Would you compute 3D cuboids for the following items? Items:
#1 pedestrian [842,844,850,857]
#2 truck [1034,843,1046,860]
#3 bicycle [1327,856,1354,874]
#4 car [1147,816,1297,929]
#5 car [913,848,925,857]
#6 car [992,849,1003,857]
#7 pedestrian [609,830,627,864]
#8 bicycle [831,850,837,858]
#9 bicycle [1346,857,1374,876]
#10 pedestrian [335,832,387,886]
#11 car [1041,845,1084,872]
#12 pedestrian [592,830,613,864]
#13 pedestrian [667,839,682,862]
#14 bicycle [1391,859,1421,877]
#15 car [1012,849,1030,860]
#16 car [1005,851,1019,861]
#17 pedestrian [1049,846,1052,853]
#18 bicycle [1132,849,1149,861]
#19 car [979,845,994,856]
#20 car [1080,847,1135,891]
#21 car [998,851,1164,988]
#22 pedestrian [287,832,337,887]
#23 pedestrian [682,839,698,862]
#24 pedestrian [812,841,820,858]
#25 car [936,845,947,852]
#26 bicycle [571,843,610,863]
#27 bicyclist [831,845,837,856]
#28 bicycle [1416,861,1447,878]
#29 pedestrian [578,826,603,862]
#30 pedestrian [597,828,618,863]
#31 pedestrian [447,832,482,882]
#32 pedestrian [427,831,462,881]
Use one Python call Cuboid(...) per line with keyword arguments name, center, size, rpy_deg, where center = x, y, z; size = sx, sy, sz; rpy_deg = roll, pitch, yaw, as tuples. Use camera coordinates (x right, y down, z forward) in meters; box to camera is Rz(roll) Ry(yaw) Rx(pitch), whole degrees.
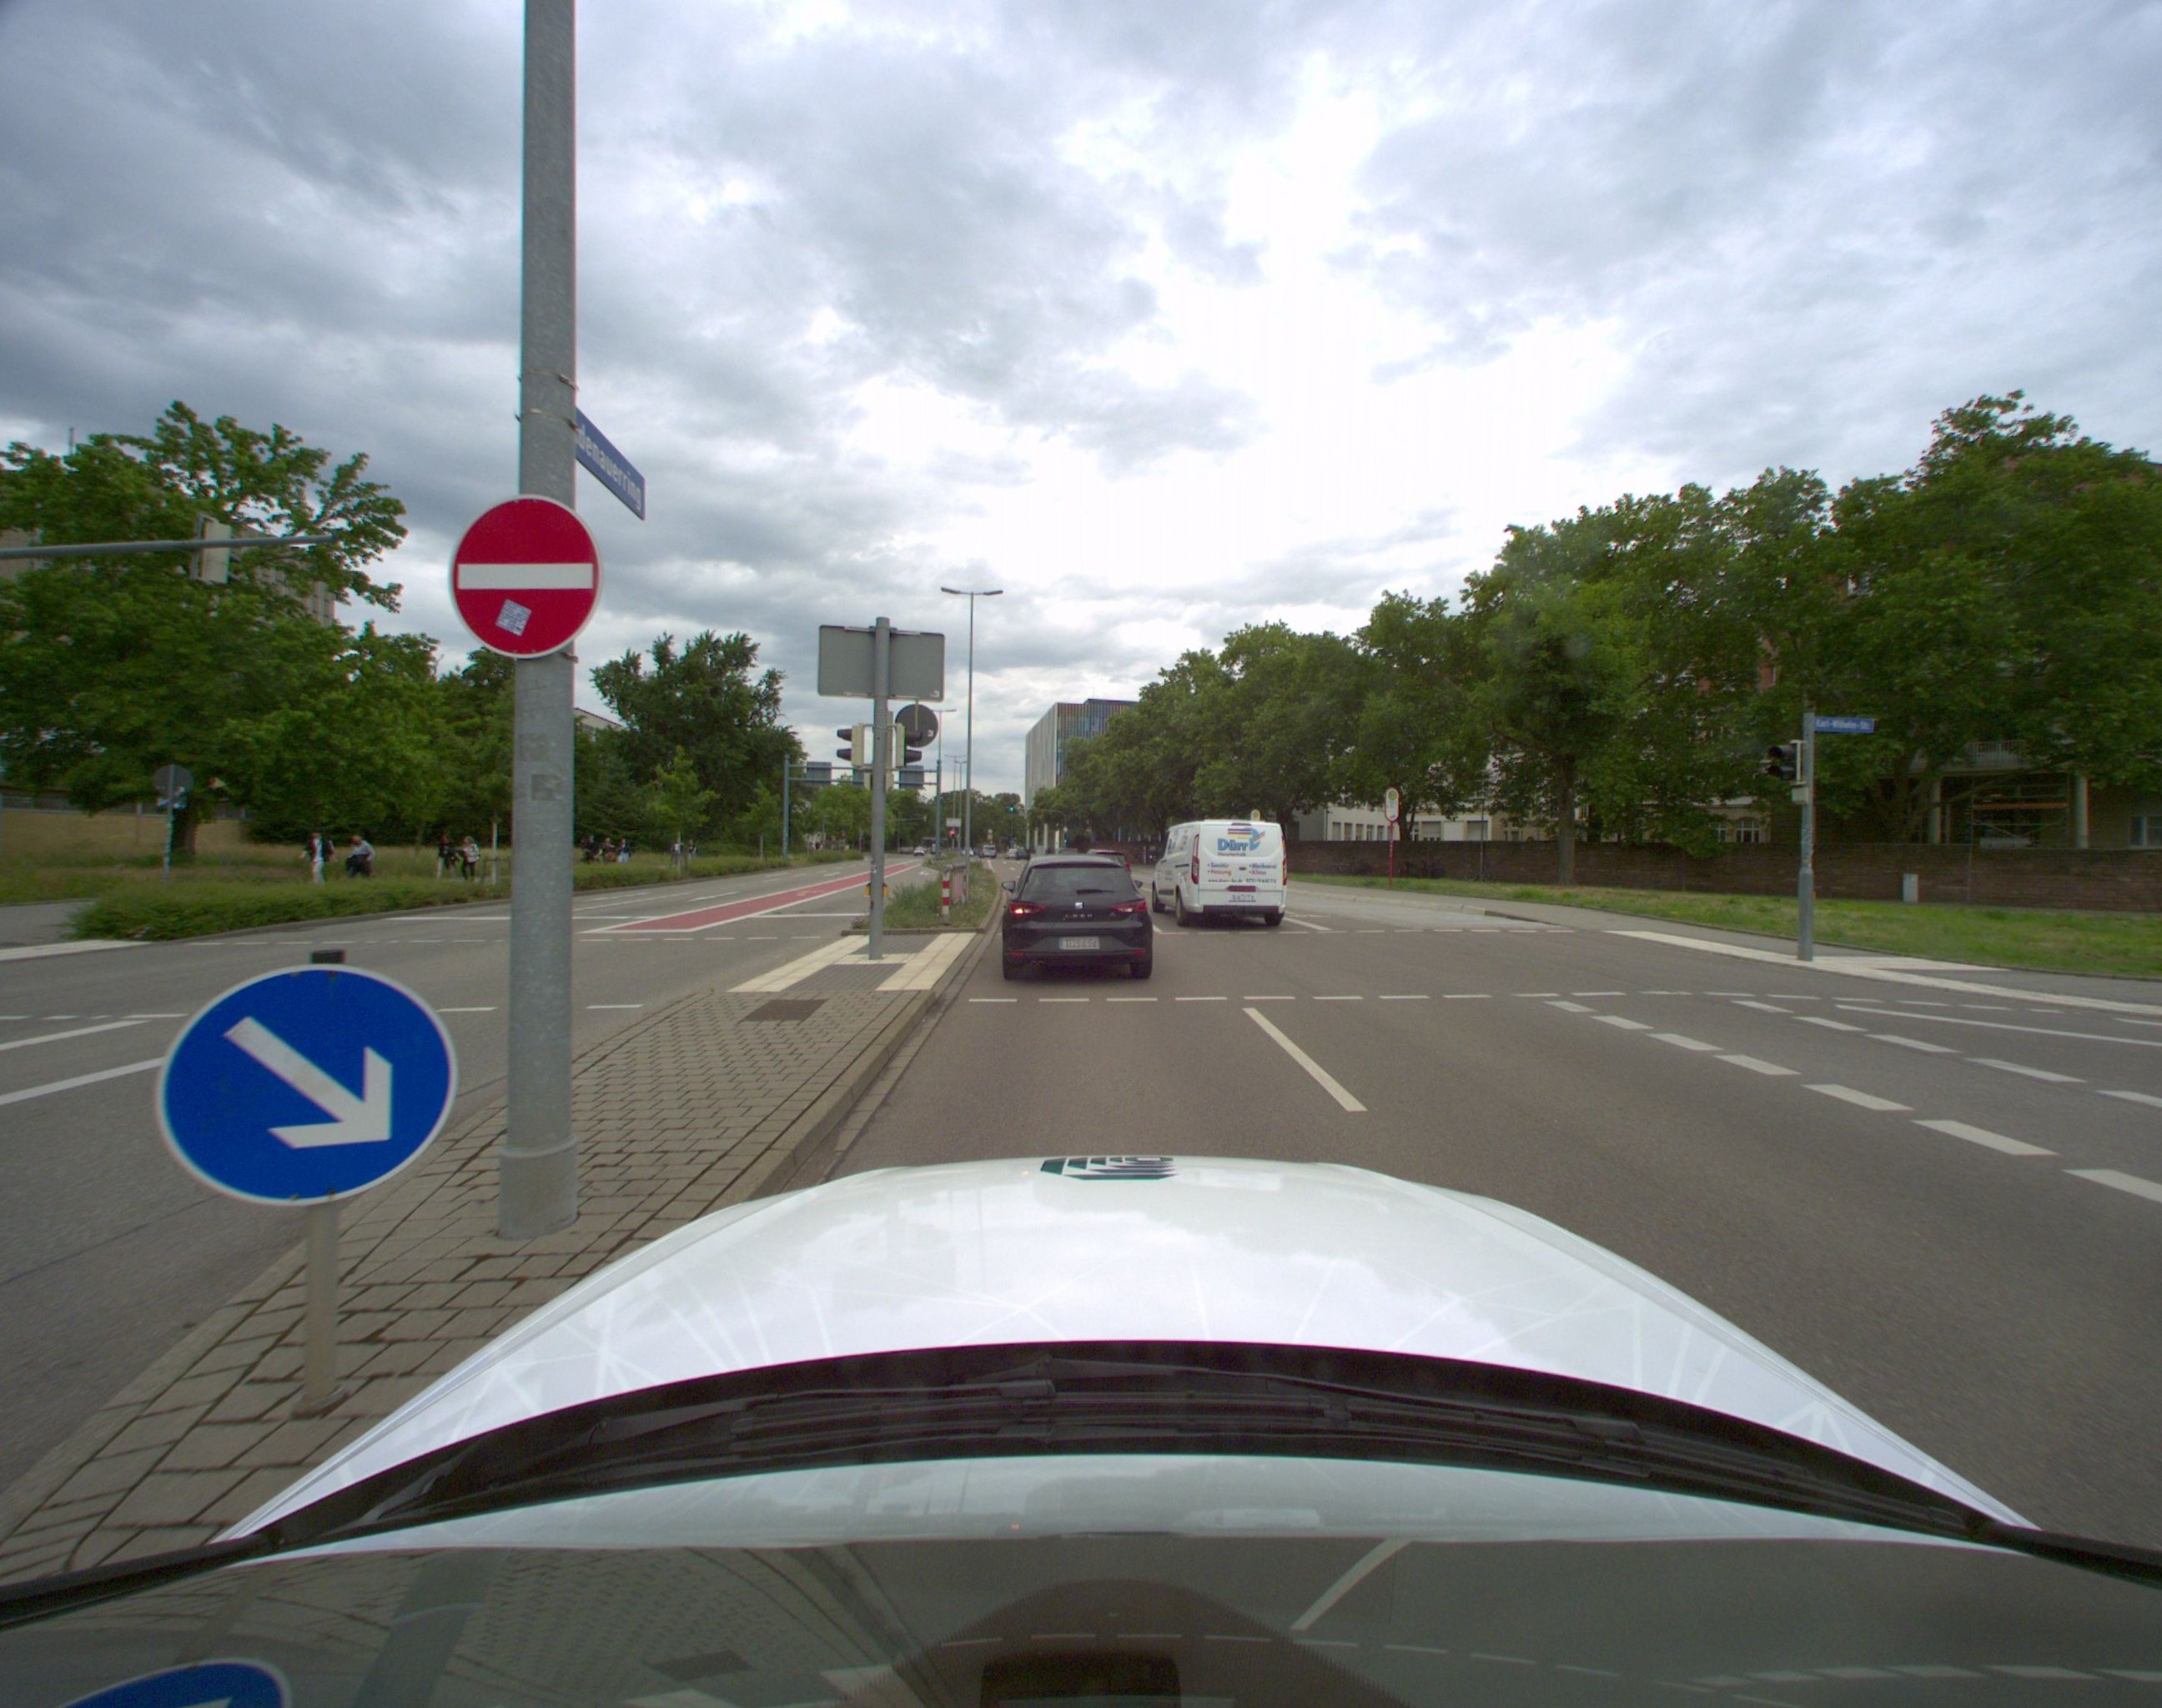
Cuboid(name="pedestrian", center=(-33.135, -0.538, 114.818), size=(0.820, 1.740, 0.847), rpy_deg=(-4, -5, 44))
Cuboid(name="truck", center=(-5.368, -0.344, 107.267), size=(1.316, 2.243, 3.393), rpy_deg=(0, 1, -7))
Cuboid(name="bicycle", center=(17.248, 0.750, 54.130), size=(0.598, 1.136, 1.696), rpy_deg=(-1, 1, -33))
Cuboid(name="car", center=(2.667, 0.343, 16.538), size=(1.963, 1.972, 4.336), rpy_deg=(1, 0, -5))
Cuboid(name="car", center=(-26.793, -0.285, 134.753), size=(1.606, 1.381, 3.800), rpy_deg=(0, 1, -7))
Cuboid(name="car", center=(-13.916, -0.152, 135.134), size=(1.505, 1.193, 3.152), rpy_deg=(0, 1, -11))
Cuboid(name="pedestrian", center=(-23.091, -0.356, 40.637), size=(0.586, 1.660, 0.717), rpy_deg=(0, 1, -13))
Cuboid(name="bicycle", center=(-35.234, -0.030, 116.182), size=(0.669, 1.062, 1.606), rpy_deg=(3, -1, -25))
Cuboid(name="bicycle", center=(18.005, 0.793, 52.571), size=(0.598, 1.129, 1.696), rpy_deg=(-1, 1, -33))
Cuboid(name="pedestrian", center=(-20.311, 0.133, 22.991), size=(0.727, 1.479, 0.812), rpy_deg=(0, 1, -4))
Cuboid(name="car", center=(-1.263, 0.264, 53.434), size=(1.917, 1.664, 4.095), rpy_deg=(-1, 1, -14))
Cuboid(name="pedestrian", center=(-23.769, -0.360, 40.472), size=(0.707, 1.672, 0.764), rpy_deg=(0, 1, -13))
Cuboid(name="pedestrian", center=(-23.978, -0.224, 48.023), size=(0.645, 1.362, 0.678), rpy_deg=(0, 1, -13))
Cuboid(name="bicycle", center=(19.849, 0.846, 49.726), size=(0.598, 1.059, 1.696), rpy_deg=(-1, 1, -33))
Cuboid(name="car", center=(-7.550, 0.047, 102.470), size=(1.899, 1.354, 3.869), rpy_deg=(0, 1, -11))
Cuboid(name="car", center=(-9.766, 0.238, 114.874), size=(1.616, 1.354, 3.986), rpy_deg=(0, 1, -11))
Cuboid(name="pedestrian", center=(-5.754, -0.790, 151.774), size=(0.470, 1.361, 0.446), rpy_deg=(0, 1, 3))
Cuboid(name="bicycle", center=(5.865, 0.070, 80.221), size=(0.851, 1.127, 1.909), rpy_deg=(-1, 1, -22))
Cuboid(name="car", center=(-13.408, -0.484, 115.368), size=(1.697, 1.503, 3.993), rpy_deg=(0, 1, -12))
Cuboid(name="car", center=(1.048, 0.575, 34.169), size=(1.945, 1.623, 3.746), rpy_deg=(2, 1, -3))
Cuboid(name="car", center=(-0.096, 0.695, 10.525), size=(1.749, 1.432, 3.764), rpy_deg=(1, 0, -3))
Cuboid(name="pedestrian", center=(-21.299, 0.141, 22.571), size=(0.634, 1.479, 0.761), rpy_deg=(0, 1, -4))
Cuboid(name="pedestrian", center=(-23.022, -0.195, 47.942), size=(0.645, 1.358, 0.709), rpy_deg=(0, 1, -10))
Cuboid(name="pedestrian", center=(-28.601, -0.496, 87.976), size=(0.619, 1.729, 0.816), rpy_deg=(0, 1, -8))
Cuboid(name="car", center=(-27.030, -1.040, 157.668), size=(1.765, 1.460, 4.771), rpy_deg=(-1, 0, -12))
Cuboid(name="bicycle", center=(-22.508, -0.050, 37.388), size=(0.658, 0.888, 1.717), rpy_deg=(0, 1, 4))
Cuboid(name="bicyclist", center=(-35.181, -0.507, 116.110), size=(0.669, 1.635, 0.953), rpy_deg=(3, -1, -25))
Cuboid(name="bicycle", center=(20.763, 0.913, 48.282), size=(0.553, 0.992, 1.619), rpy_deg=(-1, 2, -36))
Cuboid(name="pedestrian", center=(-22.509, -0.447, 37.382), size=(0.658, 1.631, 0.764), rpy_deg=(0, 1, 4))
Cuboid(name="pedestrian", center=(-21.727, -0.388, 37.350), size=(0.573, 1.609, 0.617), rpy_deg=(0, 1, 2))
Cuboid(name="pedestrian", center=(-21.095, 0.094, 27.860), size=(0.620, 1.695, 0.745), rpy_deg=(0, 1, -4))
Cuboid(name="pedestrian", center=(-21.739, 0.058, 27.838), size=(0.577, 1.711, 0.761), rpy_deg=(0, 1, -5))
